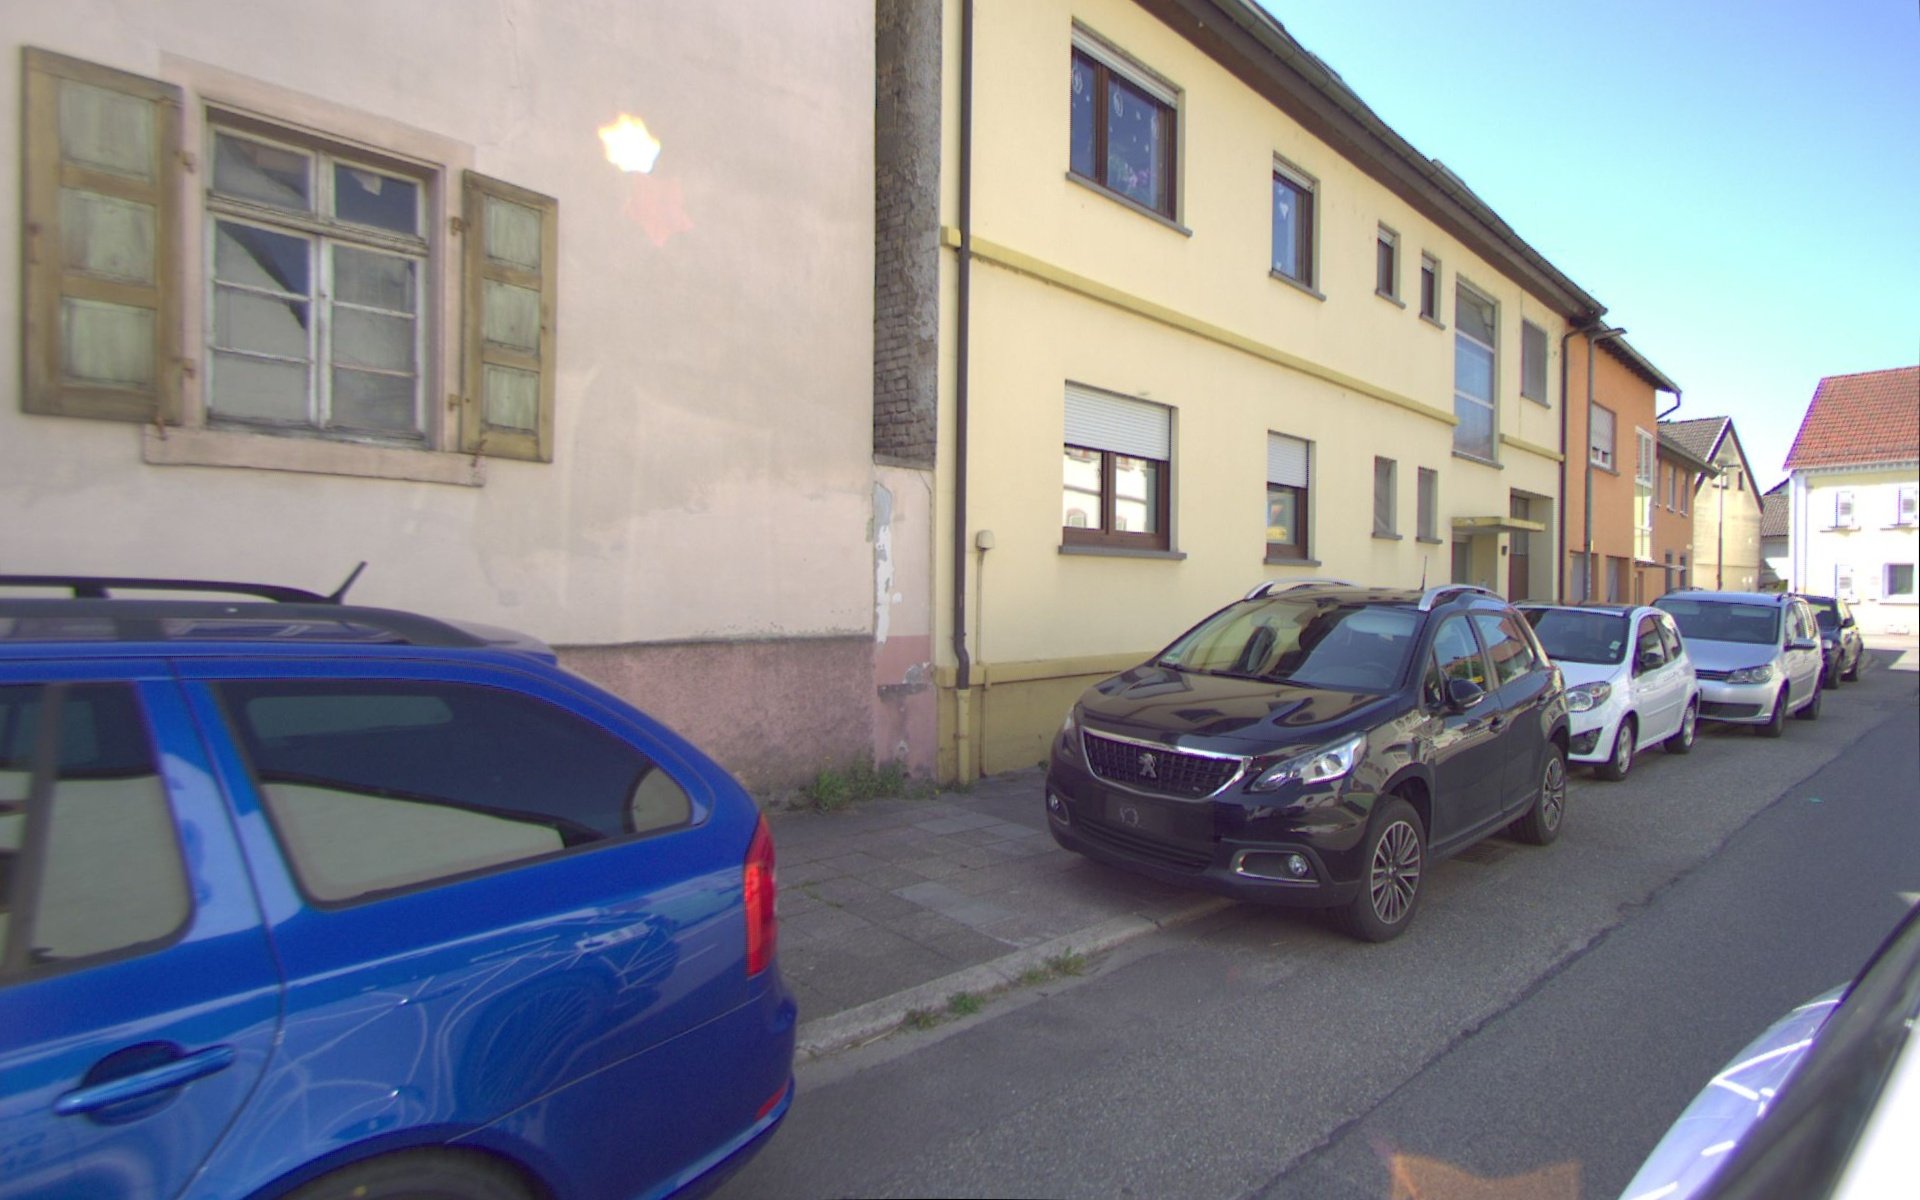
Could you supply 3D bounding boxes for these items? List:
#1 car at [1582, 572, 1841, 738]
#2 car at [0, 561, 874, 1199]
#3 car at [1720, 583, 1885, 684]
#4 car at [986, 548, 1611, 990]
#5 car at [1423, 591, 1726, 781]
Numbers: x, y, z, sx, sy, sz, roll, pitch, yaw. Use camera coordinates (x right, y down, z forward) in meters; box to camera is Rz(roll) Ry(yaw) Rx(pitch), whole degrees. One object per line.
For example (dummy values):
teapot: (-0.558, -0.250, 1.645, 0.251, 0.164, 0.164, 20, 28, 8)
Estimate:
car: (9.574, 0.571, 12.772, 4.177, 1.750, 1.900, 0, 0, -43)
car: (-2.316, 0.679, 1.297, 1.699, 1.488, 4.339, 2, 2, 45)
car: (16.669, 0.559, 19.916, 5.092, 1.724, 1.847, 0, 1, -43)
car: (2.133, 0.580, 5.668, 3.961, 1.603, 1.700, 0, 2, -44)
car: (6.016, 0.661, 9.741, 3.658, 1.456, 1.553, 0, 1, -43)
